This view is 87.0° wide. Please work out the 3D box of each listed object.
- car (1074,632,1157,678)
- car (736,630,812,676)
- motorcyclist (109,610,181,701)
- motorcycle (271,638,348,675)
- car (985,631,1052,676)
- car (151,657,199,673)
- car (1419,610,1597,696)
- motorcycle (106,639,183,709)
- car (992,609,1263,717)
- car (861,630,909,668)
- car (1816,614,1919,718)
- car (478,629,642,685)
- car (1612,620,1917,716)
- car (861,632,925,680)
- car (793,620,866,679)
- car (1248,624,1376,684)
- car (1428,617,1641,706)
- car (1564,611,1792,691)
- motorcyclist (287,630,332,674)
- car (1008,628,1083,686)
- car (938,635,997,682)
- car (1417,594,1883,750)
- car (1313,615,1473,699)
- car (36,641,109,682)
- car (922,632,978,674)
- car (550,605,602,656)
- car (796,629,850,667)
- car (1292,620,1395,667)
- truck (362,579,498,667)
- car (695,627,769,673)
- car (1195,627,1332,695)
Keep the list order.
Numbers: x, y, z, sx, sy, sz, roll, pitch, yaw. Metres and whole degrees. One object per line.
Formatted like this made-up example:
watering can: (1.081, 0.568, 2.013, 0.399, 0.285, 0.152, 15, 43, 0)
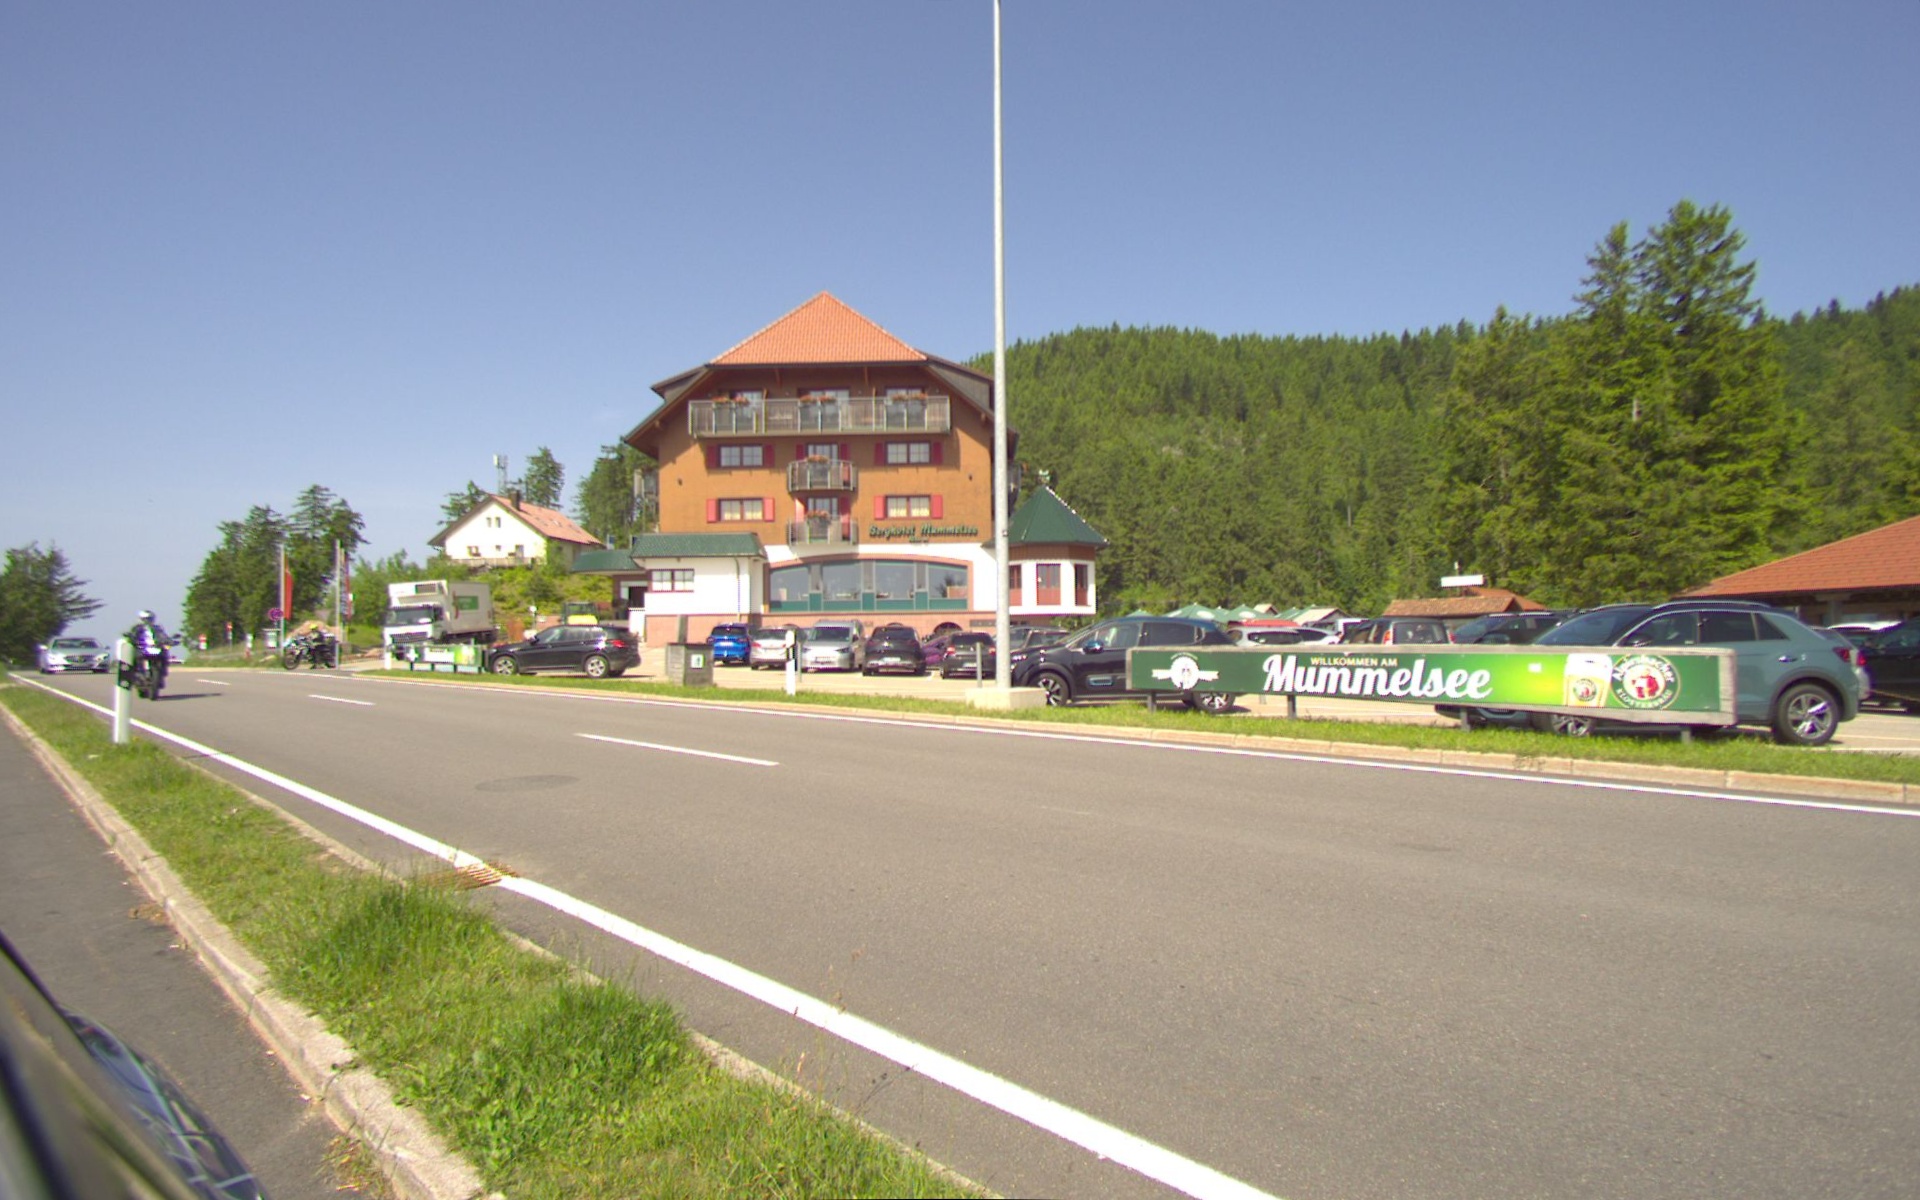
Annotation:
car: (5.055, 1.819, 33.514, 1.907, 1.429, 4.002, 0, -3, -3)
car: (-6.703, 1.927, 36.835, 1.972, 1.557, 3.998, -1, -3, 1)
motorcyclist: (-16.169, 1.072, 20.074, 1.452, 1.730, 0.913, -1, -1, 42)
motorcycle: (-26.427, 2.273, 41.154, 1.003, 1.417, 2.416, -1, -1, 34)
car: (1.998, 1.873, 35.643, 1.907, 1.494, 4.002, 0, -3, -3)
car: (-100.941, 8.330, 130.163, 4.660, 1.896, 1.934, 5, -7, -42)
car: (13.237, 1.288, 24.782, 1.970, 1.918, 4.002, 0, -3, -3)
motorcycle: (-16.245, 1.437, 20.133, 2.277, 1.266, 0.867, -1, -1, 43)
car: (2.531, 0.987, 15.935, 3.950, 1.564, 1.780, -1, -3, 6)
car: (-3.054, 2.030, 41.799, 1.907, 1.494, 4.002, 0, -3, -3)
car: (15.643, 0.997, 15.259, 1.972, 1.586, 4.000, 0, -3, 0)
car: (-11.704, 1.676, 29.830, 4.133, 1.552, 1.807, -1, -3, 0)
car: (13.345, 1.123, 17.175, 1.881, 1.431, 4.000, 0, -3, 0)
car: (-2.089, 1.784, 32.421, 1.887, 1.441, 4.000, -1, -3, -1)
car: (-4.425, 1.716, 34.920, 1.810, 1.878, 4.527, -1, -3, 2)
car: (9.776, 1.522, 28.456, 1.970, 1.564, 4.002, 0, -3, -3)
car: (11.123, 1.189, 19.971, 1.873, 1.557, 3.998, -1, -3, 1)
car: (15.599, 1.126, 22.301, 1.970, 1.586, 4.002, 0, -3, -3)
motorcyclist: (-26.451, 2.114, 41.156, 1.062, 1.733, 1.233, -1, -2, 34)
car: (2.319, 1.589, 28.445, 1.692, 1.497, 4.079, -1, -3, -1)
car: (0.174, 1.758, 30.518, 1.564, 1.331, 3.641, -1, -3, -3)
car: (7.594, 0.778, 11.452, 4.003, 1.579, 1.740, -1, -2, 1)
car: (9.017, 1.202, 21.419, 1.711, 1.600, 3.732, -1, -3, 0)
car: (-33.738, 2.335, 38.435, 4.001, 1.468, 1.756, -4, -4, 44)
car: (-0.441, 2.000, 38.102, 1.907, 1.494, 4.002, 0, -3, -3)
car: (-20.095, 1.631, 52.858, 1.966, 2.515, 4.012, 1, -3, -29)
car: (-5.604, 1.993, 41.883, 1.907, 1.494, 4.002, 0, -3, -3)
car: (13.216, 1.522, 35.104, 1.882, 1.542, 3.883, 0, -3, -3)
truck: (-26.883, 1.101, 51.889, 3.023, 4.002, 8.783, -3, 0, -6)
car: (-8.779, 1.896, 39.309, 1.912, 1.676, 4.546, -1, -2, -1)
car: (6.725, 1.361, 22.881, 1.786, 1.381, 4.000, -1, -3, -1)
